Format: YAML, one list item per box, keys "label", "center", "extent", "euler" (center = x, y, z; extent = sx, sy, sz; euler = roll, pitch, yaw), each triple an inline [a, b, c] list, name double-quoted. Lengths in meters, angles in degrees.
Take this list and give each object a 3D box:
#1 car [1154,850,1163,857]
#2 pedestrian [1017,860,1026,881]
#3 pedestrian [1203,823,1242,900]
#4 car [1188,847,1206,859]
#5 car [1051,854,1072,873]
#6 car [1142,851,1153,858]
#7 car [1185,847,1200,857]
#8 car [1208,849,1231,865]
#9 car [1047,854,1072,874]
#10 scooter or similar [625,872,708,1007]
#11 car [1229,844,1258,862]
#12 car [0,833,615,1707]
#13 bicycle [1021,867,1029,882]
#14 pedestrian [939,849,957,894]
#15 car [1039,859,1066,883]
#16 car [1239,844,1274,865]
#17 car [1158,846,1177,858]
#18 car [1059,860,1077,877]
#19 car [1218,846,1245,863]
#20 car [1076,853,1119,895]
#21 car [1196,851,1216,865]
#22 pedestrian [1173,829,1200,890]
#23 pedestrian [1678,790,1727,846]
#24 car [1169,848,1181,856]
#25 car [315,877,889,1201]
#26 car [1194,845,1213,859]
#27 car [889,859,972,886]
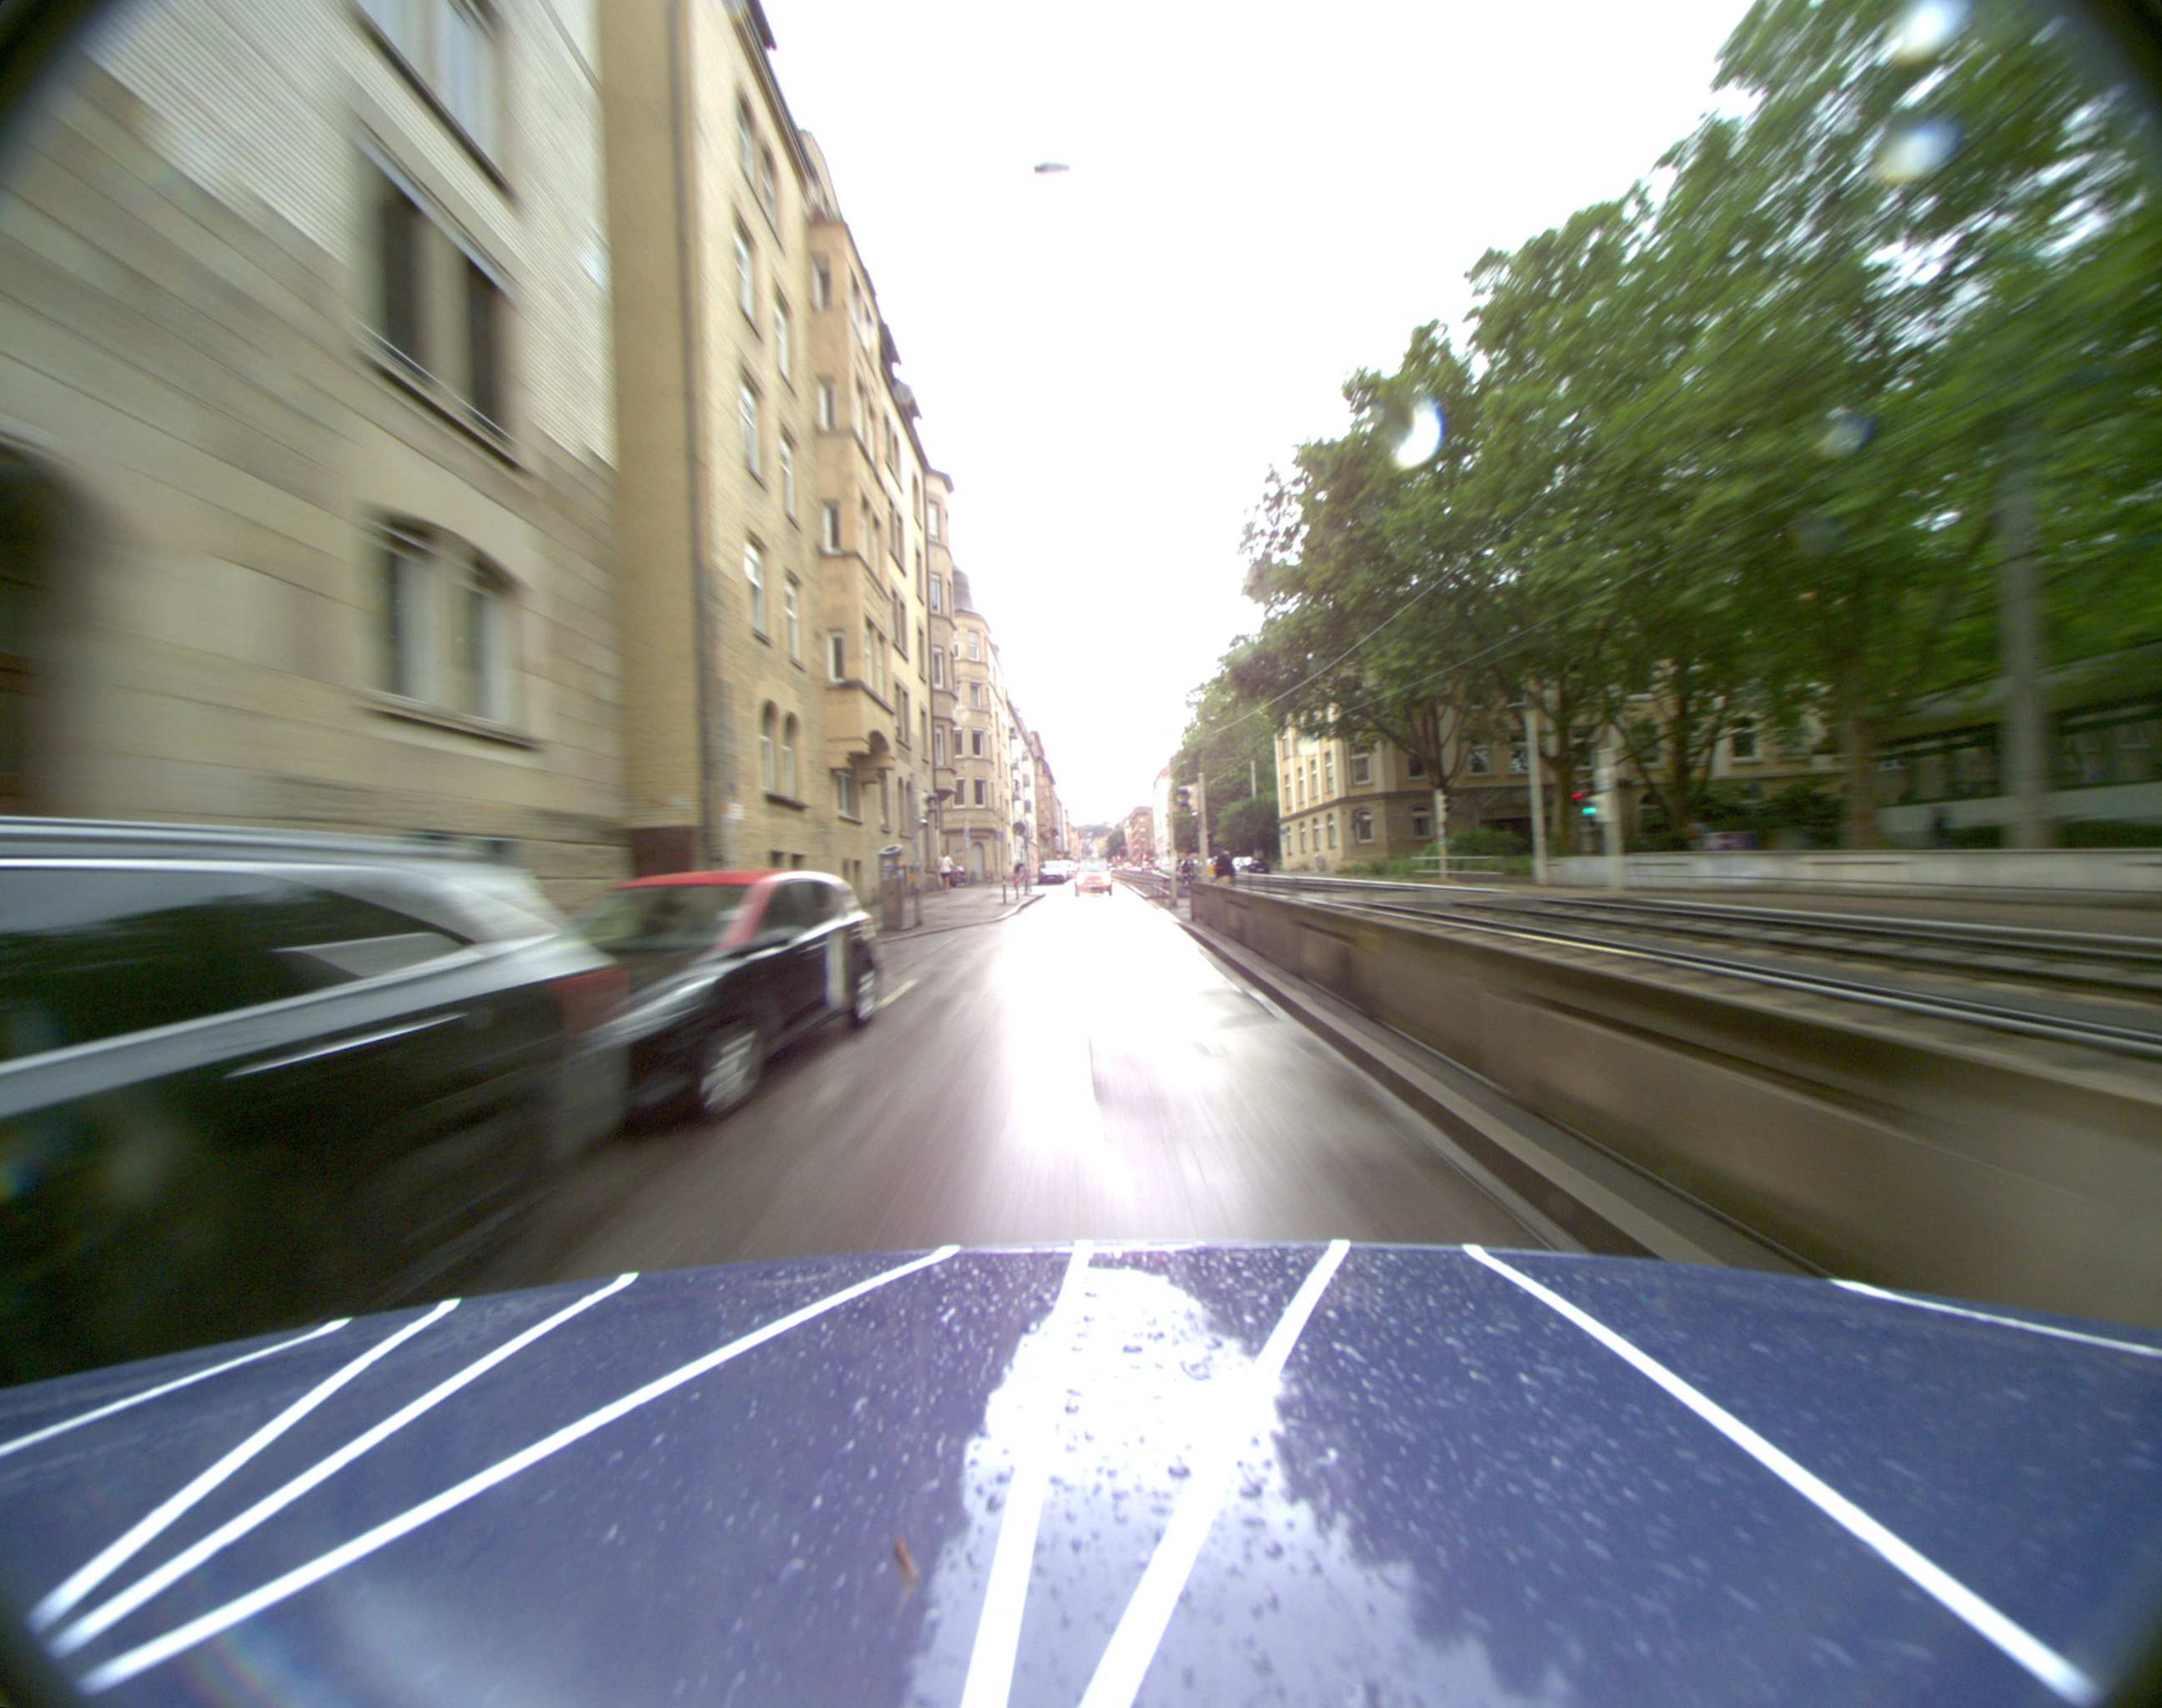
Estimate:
- label: "car"
  center: [14.113, -0.097, 138.879]
  extent: [1.326, 1.159, 2.910]
  euler: [-2, 0, -1]
- label: "pedestrian"
  center: [-4.050, 1.121, 51.721]
  extent: [0.510, 1.363, 0.404]
  euler: [-2, 1, -25]
- label: "pedestrian"
  center: [3.218, 0.168, 17.282]
  extent: [0.651, 1.695, 0.662]
  euler: [-2, 1, 24]
- label: "car"
  center: [13.320, -0.102, 87.659]
  extent: [1.402, 1.371, 3.314]
  euler: [-2, 0, -2]
- label: "car"
  center: [-1.802, 0.909, 72.199]
  extent: [1.745, 1.729, 4.000]
  euler: [-2, 0, 1]
- label: "car"
  center: [11.420, 0.155, 130.819]
  extent: [1.572, 1.159, 2.909]
  euler: [-2, 0, -2]
- label: "car"
  center: [13.563, -0.195, 92.646]
  extent: [1.326, 1.159, 2.909]
  euler: [-2, 0, -2]
- label: "car"
  center: [13.458, 0.287, 73.884]
  extent: [1.484, 1.392, 3.282]
  euler: [-2, 0, -1]
- label: "car"
  center: [-1.690, 0.811, 61.248]
  extent: [1.745, 1.507, 4.000]
  euler: [-2, 0, 1]
- label: "scooter or similar"
  center: [-4.693, 0.908, 8.690]
  extent: [0.367, 1.308, 1.566]
  euler: [-1, 2, -12]
- label: "car"
  center: [13.628, -0.071, 63.970]
  extent: [1.646, 1.392, 3.516]
  euler: [-2, 0, 0]
- label: "car"
  center: [-2.831, 0.848, 0.769]
  extent: [1.770, 1.698, 4.499]
  euler: [-2, 0, 2]
- label: "bicycle"
  center: [-3.836, 1.387, 51.741]
  extent: [0.339, 1.008, 1.675]
  euler: [0, 0, 2]
- label: "pedestrian"
  center: [-5.280, 0.699, 30.175]
  extent: [0.580, 1.741, 0.574]
  euler: [-1, -1, 2]
- label: "car"
  center: [-2.011, 1.197, 54.189]
  extent: [1.745, 1.577, 4.000]
  euler: [-2, 0, 0]
- label: "car"
  center: [13.646, 0.031, 59.271]
  extent: [1.891, 1.468, 3.807]
  euler: [-3, 0, 2]
- label: "car"
  center: [10.981, -0.274, 96.739]
  extent: [1.687, 1.468, 3.311]
  euler: [-3, 0, -4]
- label: "car"
  center: [-1.322, 1.512, 80.248]
  extent: [1.745, 1.649, 4.000]
  euler: [-2, 0, 1]
- label: "car"
  center: [13.518, 0.035, 68.534]
  extent: [1.646, 1.392, 3.516]
  euler: [-2, 0, 0]
- label: "car"
  center: [0.645, 0.823, 31.882]
  extent: [1.620, 1.592, 4.067]
  euler: [-2, -1, 0]
- label: "car"
  center: [13.344, 0.437, 81.351]
  extent: [1.484, 1.440, 3.500]
  euler: [-2, 0, -1]
- label: "pedestrian"
  center: [2.897, 0.148, 20.836]
  extent: [0.482, 1.629, 0.432]
  euler: [-3, 0, -36]
- label: "pedestrian"
  center: [20.693, -1.198, 25.316]
  extent: [0.871, 1.789, 0.862]
  euler: [-3, 1, 4]
- label: "car"
  center: [13.650, -0.305, 110.584]
  extent: [1.326, 1.159, 2.909]
  euler: [-2, 0, -1]
- label: "car"
  center: [-2.865, 0.993, 5.590]
  extent: [1.665, 1.444, 3.610]
  euler: [-3, 0, 5]
- label: "car"
  center: [13.426, -0.219, 83.209]
  extent: [1.402, 1.499, 3.314]
  euler: [-2, 0, -2]
- label: "car"
  center: [-8.923, 1.102, 45.244]
  extent: [4.506, 1.490, 1.780]
  euler: [-1, -2, 3]
